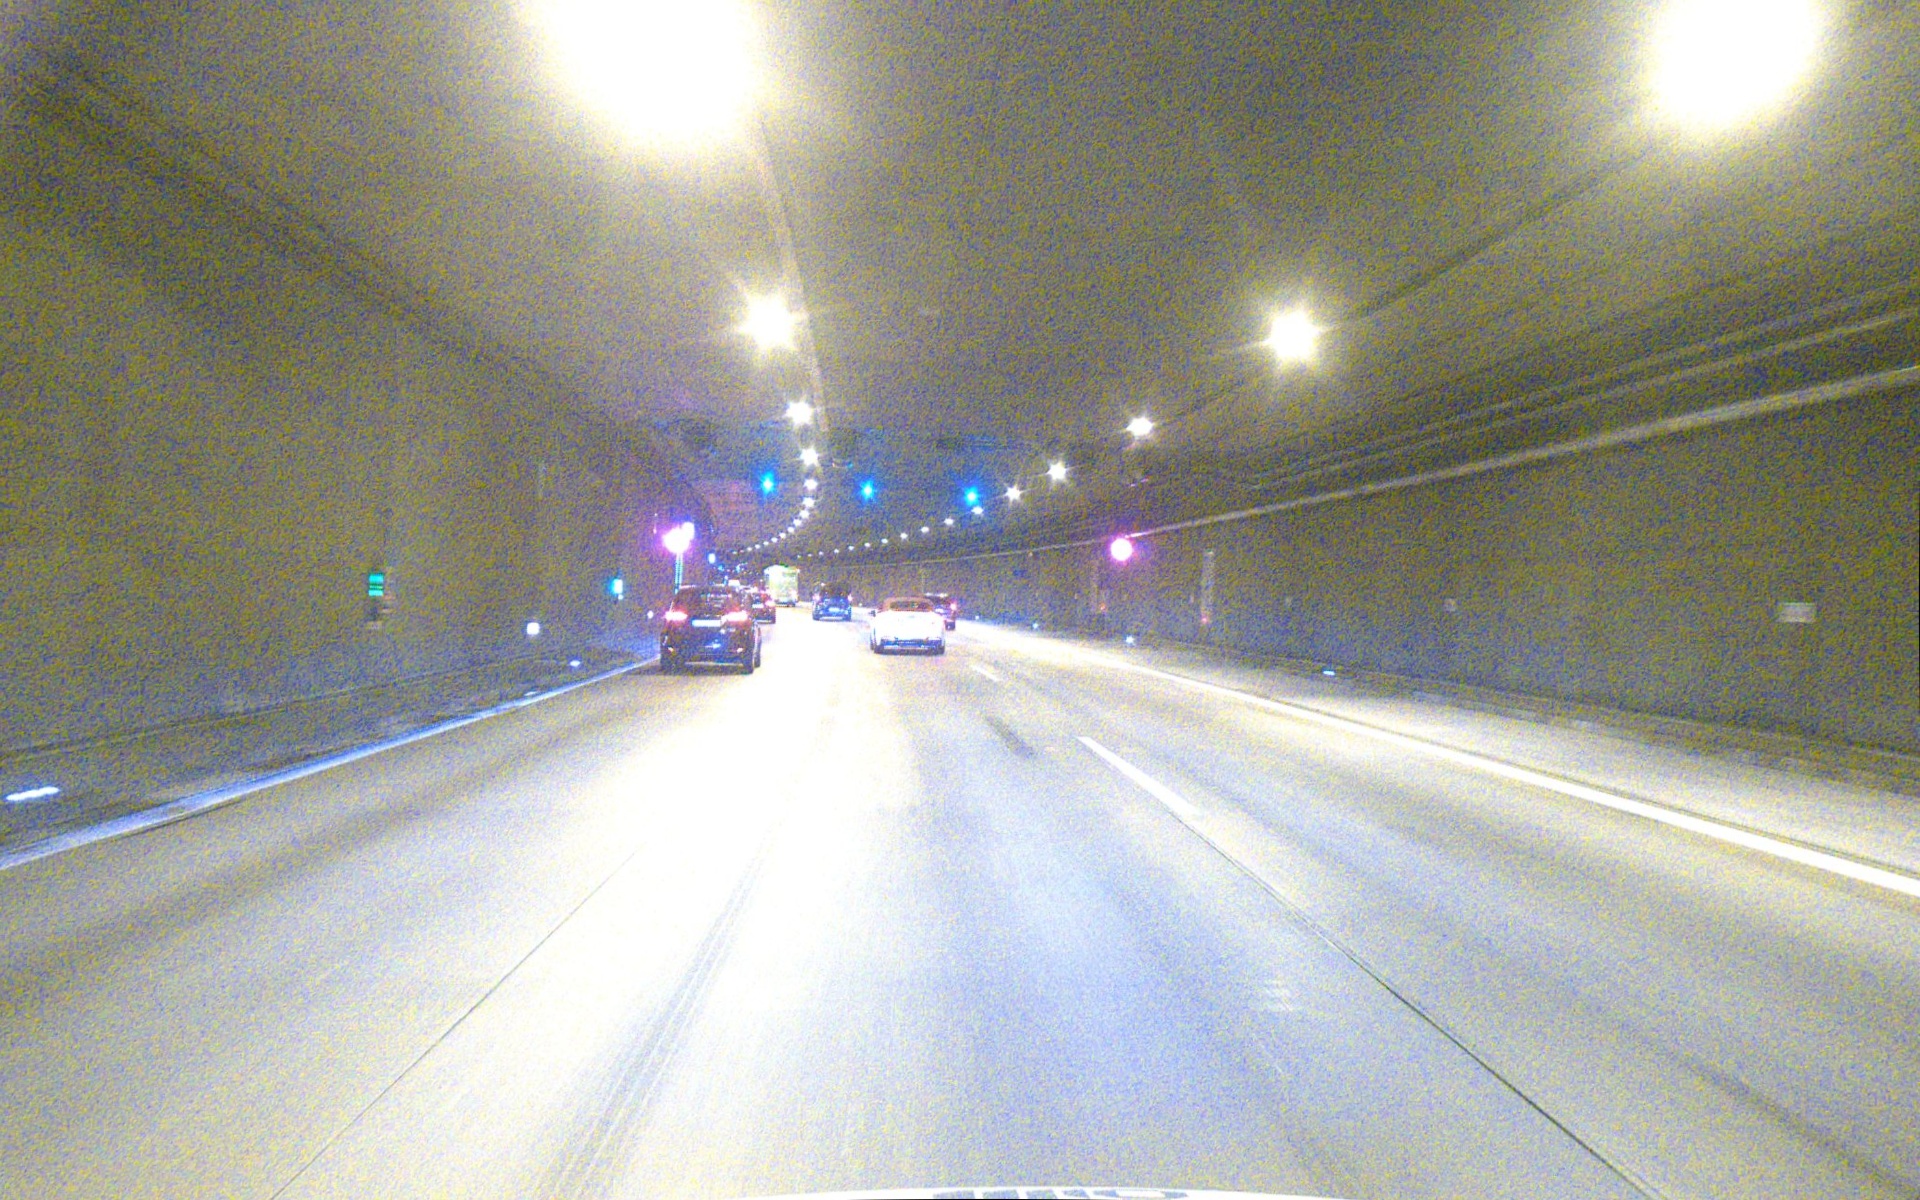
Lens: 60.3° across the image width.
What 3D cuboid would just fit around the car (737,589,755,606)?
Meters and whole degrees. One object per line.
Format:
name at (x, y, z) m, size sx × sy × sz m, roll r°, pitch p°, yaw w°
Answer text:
car at (-24.361, -0.263, 188.354) m, size 1.955 × 1.785 × 3.994 m, roll 2°, pitch 0°, yaw -7°

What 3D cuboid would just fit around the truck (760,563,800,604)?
truck at (-14.982, -1.386, 136.984) m, size 3.024 × 3.167 × 10.014 m, roll 2°, pitch 1°, yaw -7°

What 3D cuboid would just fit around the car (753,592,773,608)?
car at (-23.607, -0.012, 198.400) m, size 1.959 × 1.785 × 3.987 m, roll 2°, pitch 0°, yaw -12°

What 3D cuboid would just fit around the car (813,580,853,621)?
car at (-6.541, 0.027, 85.371) m, size 1.954 × 2.006 × 3.996 m, roll 1°, pitch 0°, yaw -4°

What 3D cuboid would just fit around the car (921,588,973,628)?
car at (-0.582, 0.333, 69.717) m, size 1.804 × 1.630 × 3.995 m, roll 1°, pitch 0°, yaw -5°

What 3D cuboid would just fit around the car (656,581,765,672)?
car at (-4.762, 0.477, 32.002) m, size 1.750 × 1.626 × 3.798 m, roll 1°, pitch 0°, yaw -4°

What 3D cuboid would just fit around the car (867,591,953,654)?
car at (-1.338, 0.554, 42.589) m, size 1.955 × 1.509 × 3.995 m, roll 1°, pitch 0°, yaw -6°

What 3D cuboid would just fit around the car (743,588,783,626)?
car at (-9.225, 0.310, 77.471) m, size 1.766 × 1.713 × 3.994 m, roll 1°, pitch 0°, yaw -7°

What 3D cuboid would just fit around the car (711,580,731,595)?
car at (-25.181, -1.306, 174.063) m, size 1.957 × 1.557 × 3.990 m, roll 2°, pitch 0°, yaw -10°
